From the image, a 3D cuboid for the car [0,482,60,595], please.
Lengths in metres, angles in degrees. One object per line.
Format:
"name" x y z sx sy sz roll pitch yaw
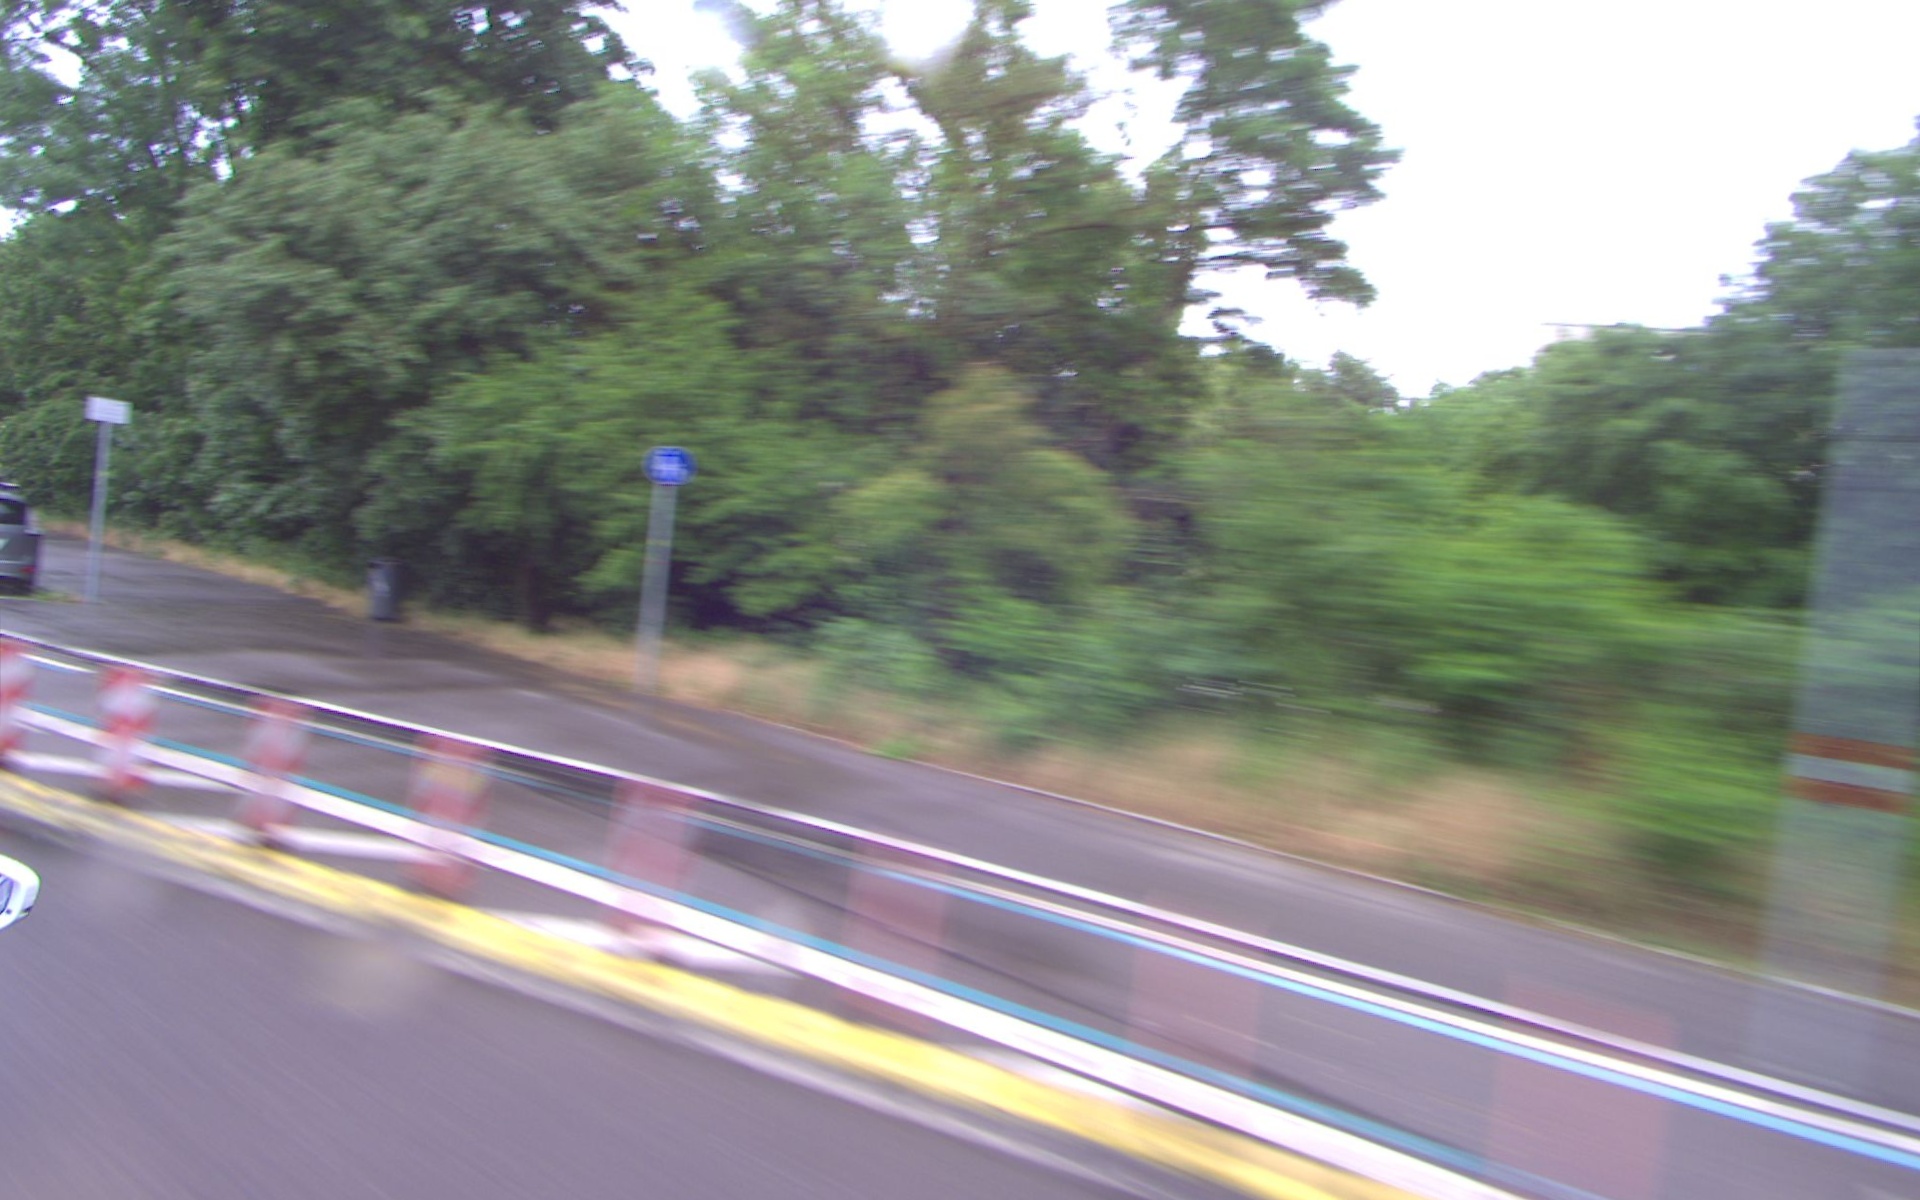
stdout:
"car" -16.194 -1.142 16.072 4.187 1.634 1.822 6 -2 37
